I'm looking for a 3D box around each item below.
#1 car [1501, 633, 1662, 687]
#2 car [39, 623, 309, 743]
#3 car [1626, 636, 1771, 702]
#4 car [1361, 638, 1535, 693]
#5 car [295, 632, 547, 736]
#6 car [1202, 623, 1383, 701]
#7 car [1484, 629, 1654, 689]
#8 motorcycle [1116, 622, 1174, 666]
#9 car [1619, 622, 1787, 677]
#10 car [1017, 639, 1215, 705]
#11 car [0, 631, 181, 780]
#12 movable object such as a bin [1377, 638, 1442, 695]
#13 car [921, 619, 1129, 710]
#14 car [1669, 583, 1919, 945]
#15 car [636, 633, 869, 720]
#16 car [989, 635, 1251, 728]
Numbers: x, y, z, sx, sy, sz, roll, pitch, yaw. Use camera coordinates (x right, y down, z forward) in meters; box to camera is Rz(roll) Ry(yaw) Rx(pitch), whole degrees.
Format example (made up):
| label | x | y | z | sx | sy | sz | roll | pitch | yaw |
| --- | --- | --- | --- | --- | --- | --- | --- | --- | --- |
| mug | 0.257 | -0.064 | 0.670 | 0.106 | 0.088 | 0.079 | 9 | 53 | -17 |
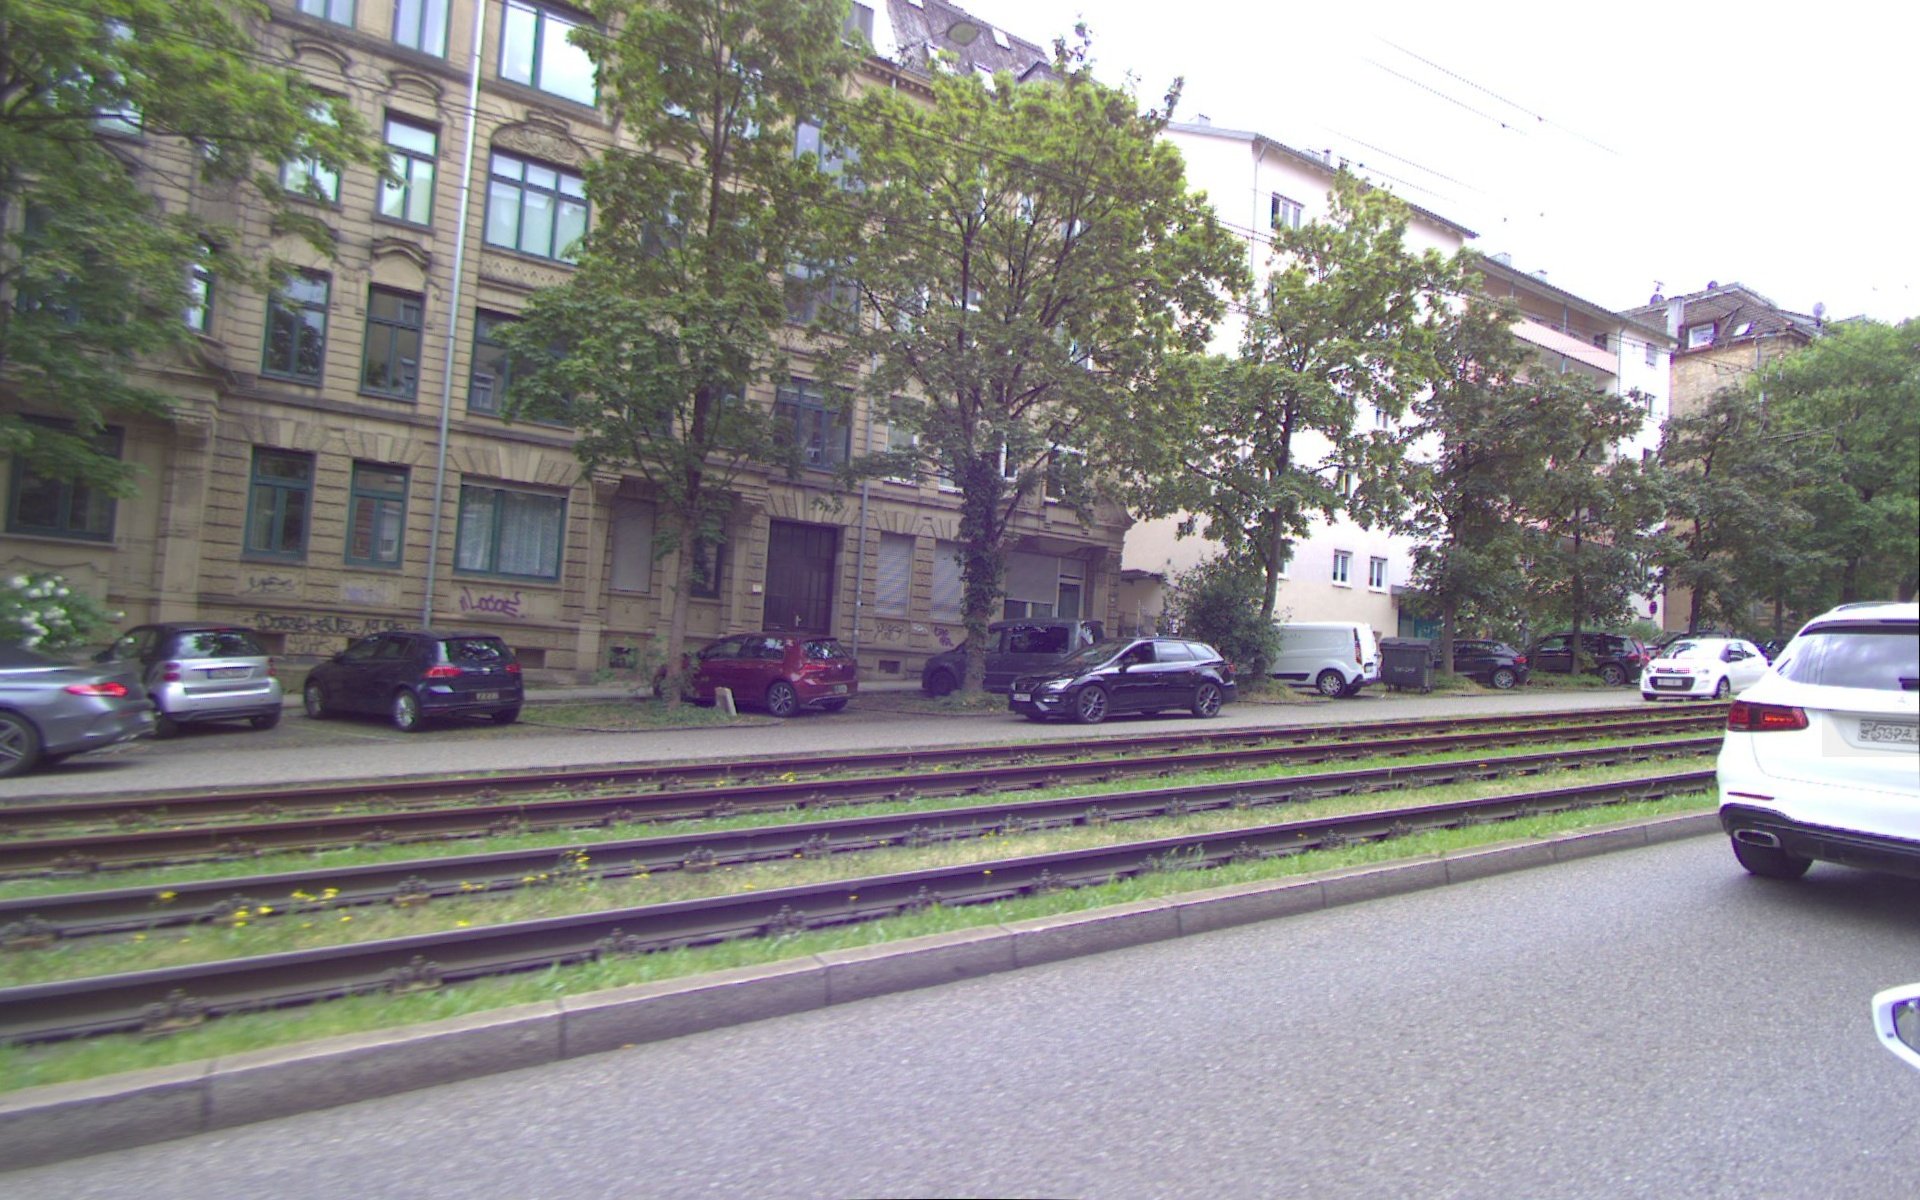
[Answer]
| label | x | y | z | sx | sy | sz | roll | pitch | yaw |
| --- | --- | --- | --- | --- | --- | --- | --- | --- | --- |
| car | 21.245 | 2.023 | 34.560 | 4.522 | 1.569 | 1.934 | 1 | -1 | 27 |
| car | -11.935 | 1.159 | 15.215 | 4.118 | 1.594 | 1.868 | -1 | -2 | 31 |
| car | 17.543 | 1.612 | 23.854 | 3.374 | 1.454 | 1.580 | 1 | -4 | -31 |
| car | 14.507 | 1.902 | 29.996 | 4.522 | 1.362 | 1.934 | 1 | -1 | 27 |
| car | -8.693 | 1.253 | 16.122 | 4.121 | 1.454 | 1.866 | -1 | -2 | 34 |
| car | 8.559 | 1.551 | 25.994 | 4.121 | 1.860 | 1.867 | -1 | -2 | 34 |
| car | 19.537 | 1.851 | 32.496 | 4.522 | 1.704 | 1.934 | 1 | -1 | 27 |
| motorcycle | 6.256 | 1.478 | 34.138 | 0.759 | 1.436 | 2.167 | 1 | -2 | -28 |
| car | 27.189 | 1.781 | 36.921 | 4.514 | 1.821 | 1.937 | 1 | 0 | 14 |
| car | 3.562 | 1.598 | 23.125 | 4.117 | 1.357 | 1.868 | -1 | -2 | 31 |
| car | -10.609 | 1.024 | 9.772 | 4.544 | 1.428 | 1.717 | 2 | -4 | -30 |
| movable object such as a bin | 11.863 | 1.723 | 26.508 | 1.261 | 1.419 | 1.090 | 0 | -1 | 44 |
| car | 1.379 | 1.330 | 21.740 | 4.117 | 1.791 | 1.868 | -1 | -2 | 31 |
| car | 6.399 | 0.830 | 5.996 | 4.617 | 1.689 | 1.826 | 2 | -1 | -31 |
| car | -3.926 | 1.369 | 18.905 | 4.117 | 1.454 | 1.868 | -1 | -2 | 31 |
| car | 2.871 | 1.412 | 17.809 | 4.442 | 1.454 | 1.857 | 2 | -5 | -31 |
